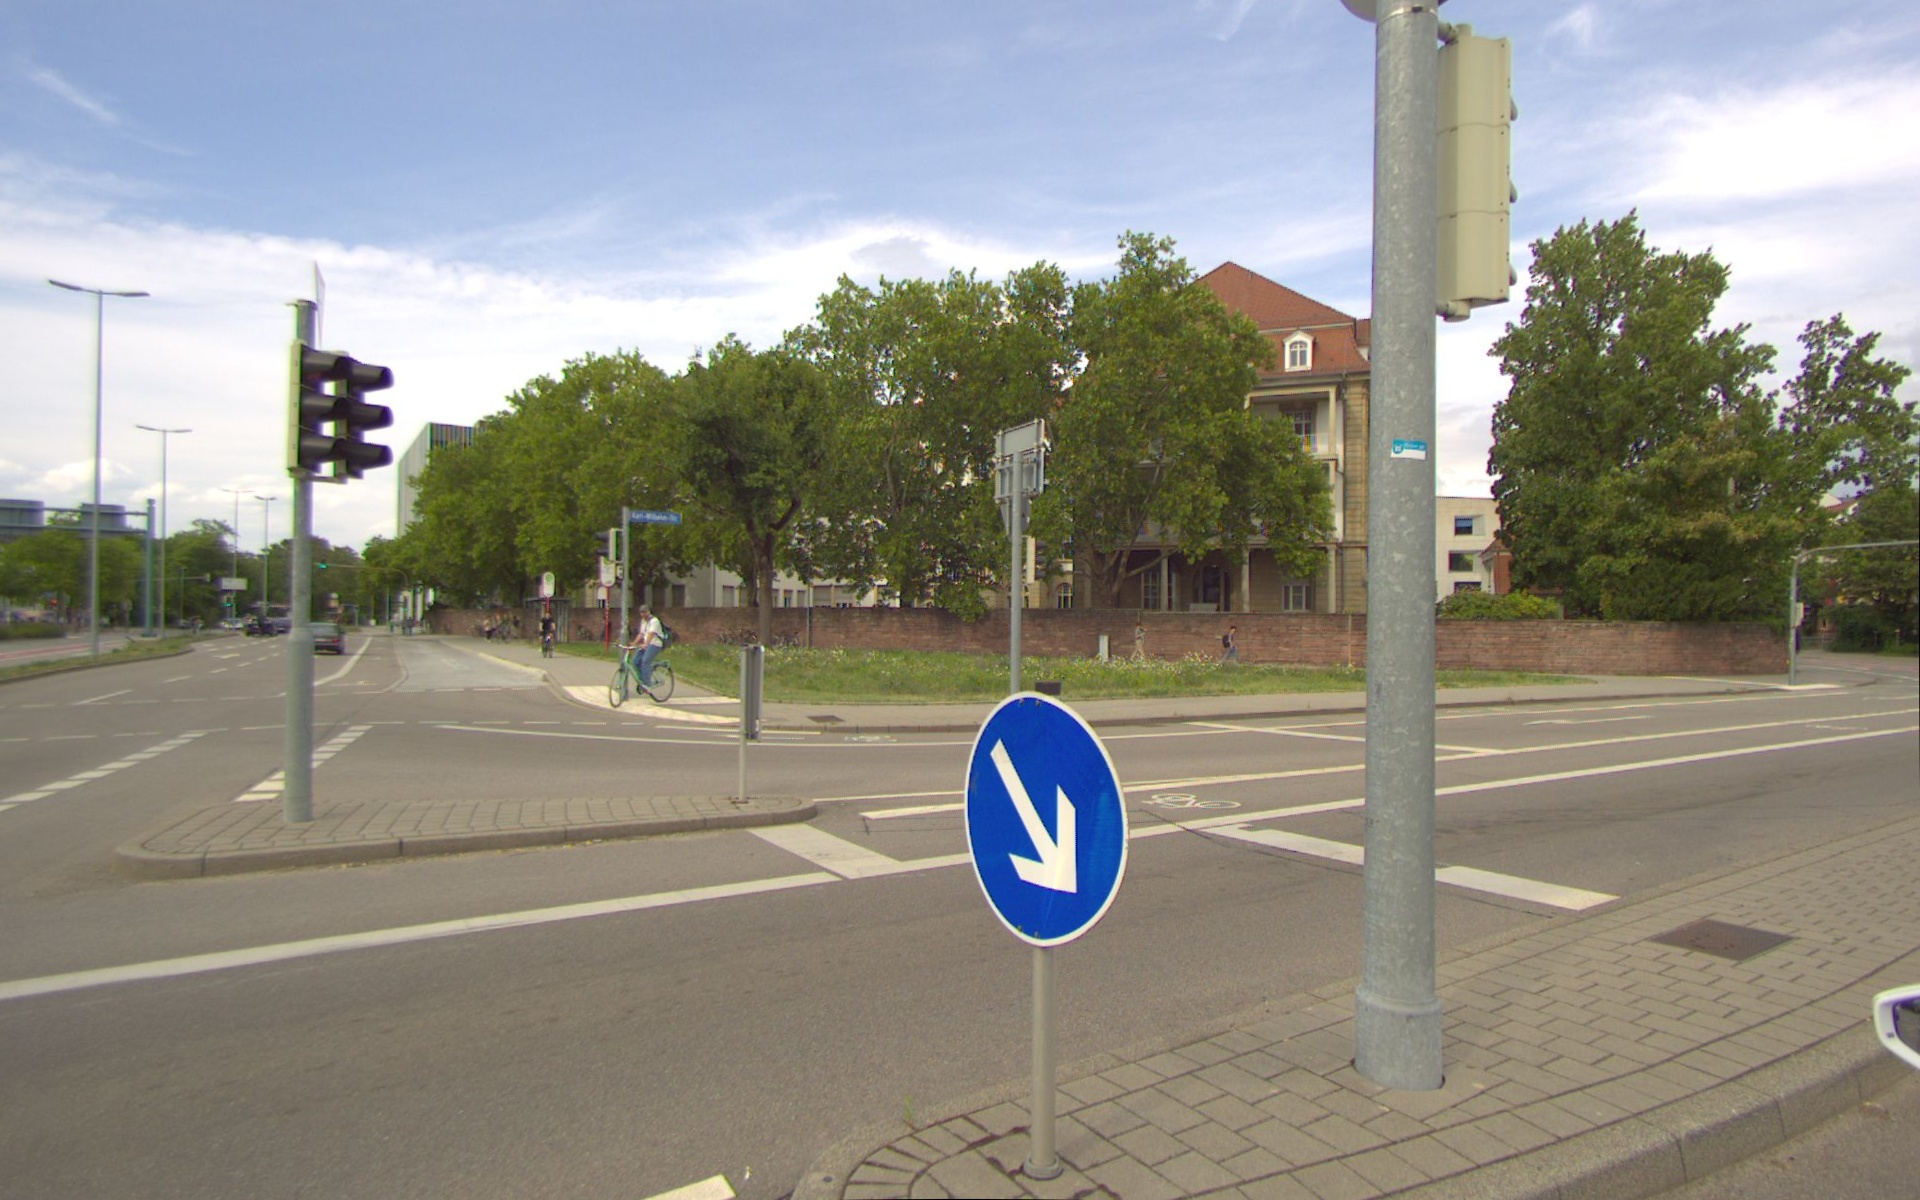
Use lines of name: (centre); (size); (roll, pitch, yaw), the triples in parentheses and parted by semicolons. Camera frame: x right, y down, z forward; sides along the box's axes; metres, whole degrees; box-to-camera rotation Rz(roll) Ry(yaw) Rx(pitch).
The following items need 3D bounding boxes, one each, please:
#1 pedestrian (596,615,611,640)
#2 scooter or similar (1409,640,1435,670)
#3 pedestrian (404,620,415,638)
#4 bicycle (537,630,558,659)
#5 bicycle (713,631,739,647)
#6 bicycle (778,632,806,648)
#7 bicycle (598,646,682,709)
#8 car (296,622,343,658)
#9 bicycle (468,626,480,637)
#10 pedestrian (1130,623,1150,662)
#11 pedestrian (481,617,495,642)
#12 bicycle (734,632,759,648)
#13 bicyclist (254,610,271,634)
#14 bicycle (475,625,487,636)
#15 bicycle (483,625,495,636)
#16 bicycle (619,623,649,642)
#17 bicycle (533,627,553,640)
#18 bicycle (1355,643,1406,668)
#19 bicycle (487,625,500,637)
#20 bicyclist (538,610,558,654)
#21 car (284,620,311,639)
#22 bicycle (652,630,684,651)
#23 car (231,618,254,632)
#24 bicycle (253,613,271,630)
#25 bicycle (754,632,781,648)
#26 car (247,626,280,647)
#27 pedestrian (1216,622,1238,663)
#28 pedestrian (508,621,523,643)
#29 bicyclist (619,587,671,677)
pedestrian: (-23.227, 1.788, 65.413); (0.743, 1.643, 0.566); (-1, 1, 38)
scooter or similar: (19.281, 2.284, 41.922); (0.512, 1.154, 1.510); (0, 1, 43)
pedestrian: (-51.123, 2.710, 93.290); (0.747, 1.643, 0.659); (-1, 1, -36)
bicycle: (-15.183, 1.629, 37.019); (0.498, 0.948, 1.964); (1, 1, -16)
bicycle: (-13.583, 2.279, 58.269); (1.793, 0.875, 0.357); (-1, -3, 37)
bicycle: (-9.269, 2.212, 55.365); (1.680, 0.875, 0.358); (0, -3, 34)
bicycle: (-5.730, 1.367, 18.118); (0.496, 0.948, 1.972); (1, 1, 13)
car: (-29.898, 1.826, 46.846); (1.683, 1.500, 4.373); (-1, 0, -35)
bicycle: (-40.444, 2.628, 83.575); (0.430, 0.899, 1.557); (-3, 1, -41)
pedestrian: (7.940, 1.882, 44.308); (0.766, 1.677, 0.577); (-1, 1, 5)
pedestrian: (-31.362, 1.950, 66.733); (0.747, 1.643, 0.659); (-1, 1, -36)
bicycle: (-12.150, 2.257, 57.153); (1.782, 0.875, 0.357); (-1, -4, 40)
bicyclist: (-50.963, 1.637, 73.383); (0.768, 1.733, 1.078); (3, -3, -27)
bicycle: (-39.177, 2.478, 82.133); (0.430, 0.899, 1.557); (-3, 1, -41)
bicycle: (-38.018, 2.462, 80.993); (0.430, 0.899, 1.557); (-3, 1, -41)
bicycle: (-20.601, 2.049, 63.535); (2.066, 1.204, 0.756); (-1, -4, 38)
bicycle: (-29.880, 2.386, 71.889); (1.553, 0.899, 0.658); (-2, 1, 40)
bicycle: (17.737, 2.339, 42.377); (1.887, 1.018, 0.780); (-1, 0, 15)
bicycle: (-36.804, 2.446, 79.236); (0.430, 0.899, 1.557); (-3, 1, -41)
bicyclist: (-15.199, 1.178, 37.083); (0.570, 1.576, 0.795); (1, 1, -16)
car: (-55.987, 2.494, 84.895); (1.772, 1.509, 4.092); (3, -2, -33)
bicycle: (-17.740, 2.447, 61.070); (2.066, 1.204, 0.756); (-1, -4, 38)
car: (-85.203, 2.956, 119.240); (1.769, 1.509, 4.097); (3, -2, -30)
bicycle: (-51.038, 1.576, 73.443); (0.749, 1.204, 2.084); (3, -3, -28)
bicycle: (-10.740, 2.236, 55.950); (1.863, 0.875, 0.357); (-1, -4, 41)
car: (-54.554, 2.818, 78.710); (1.769, 1.509, 4.097); (3, -2, -30)
pedestrian: (11.331, 1.801, 42.625); (0.767, 1.677, 0.577); (-1, 1, 0)
pedestrian: (-33.094, 2.383, 74.778); (0.652, 1.643, 0.755); (-1, 1, 19)
bicyclist: (-5.698, 0.560, 18.191); (0.568, 1.576, 0.798); (1, 1, 13)
